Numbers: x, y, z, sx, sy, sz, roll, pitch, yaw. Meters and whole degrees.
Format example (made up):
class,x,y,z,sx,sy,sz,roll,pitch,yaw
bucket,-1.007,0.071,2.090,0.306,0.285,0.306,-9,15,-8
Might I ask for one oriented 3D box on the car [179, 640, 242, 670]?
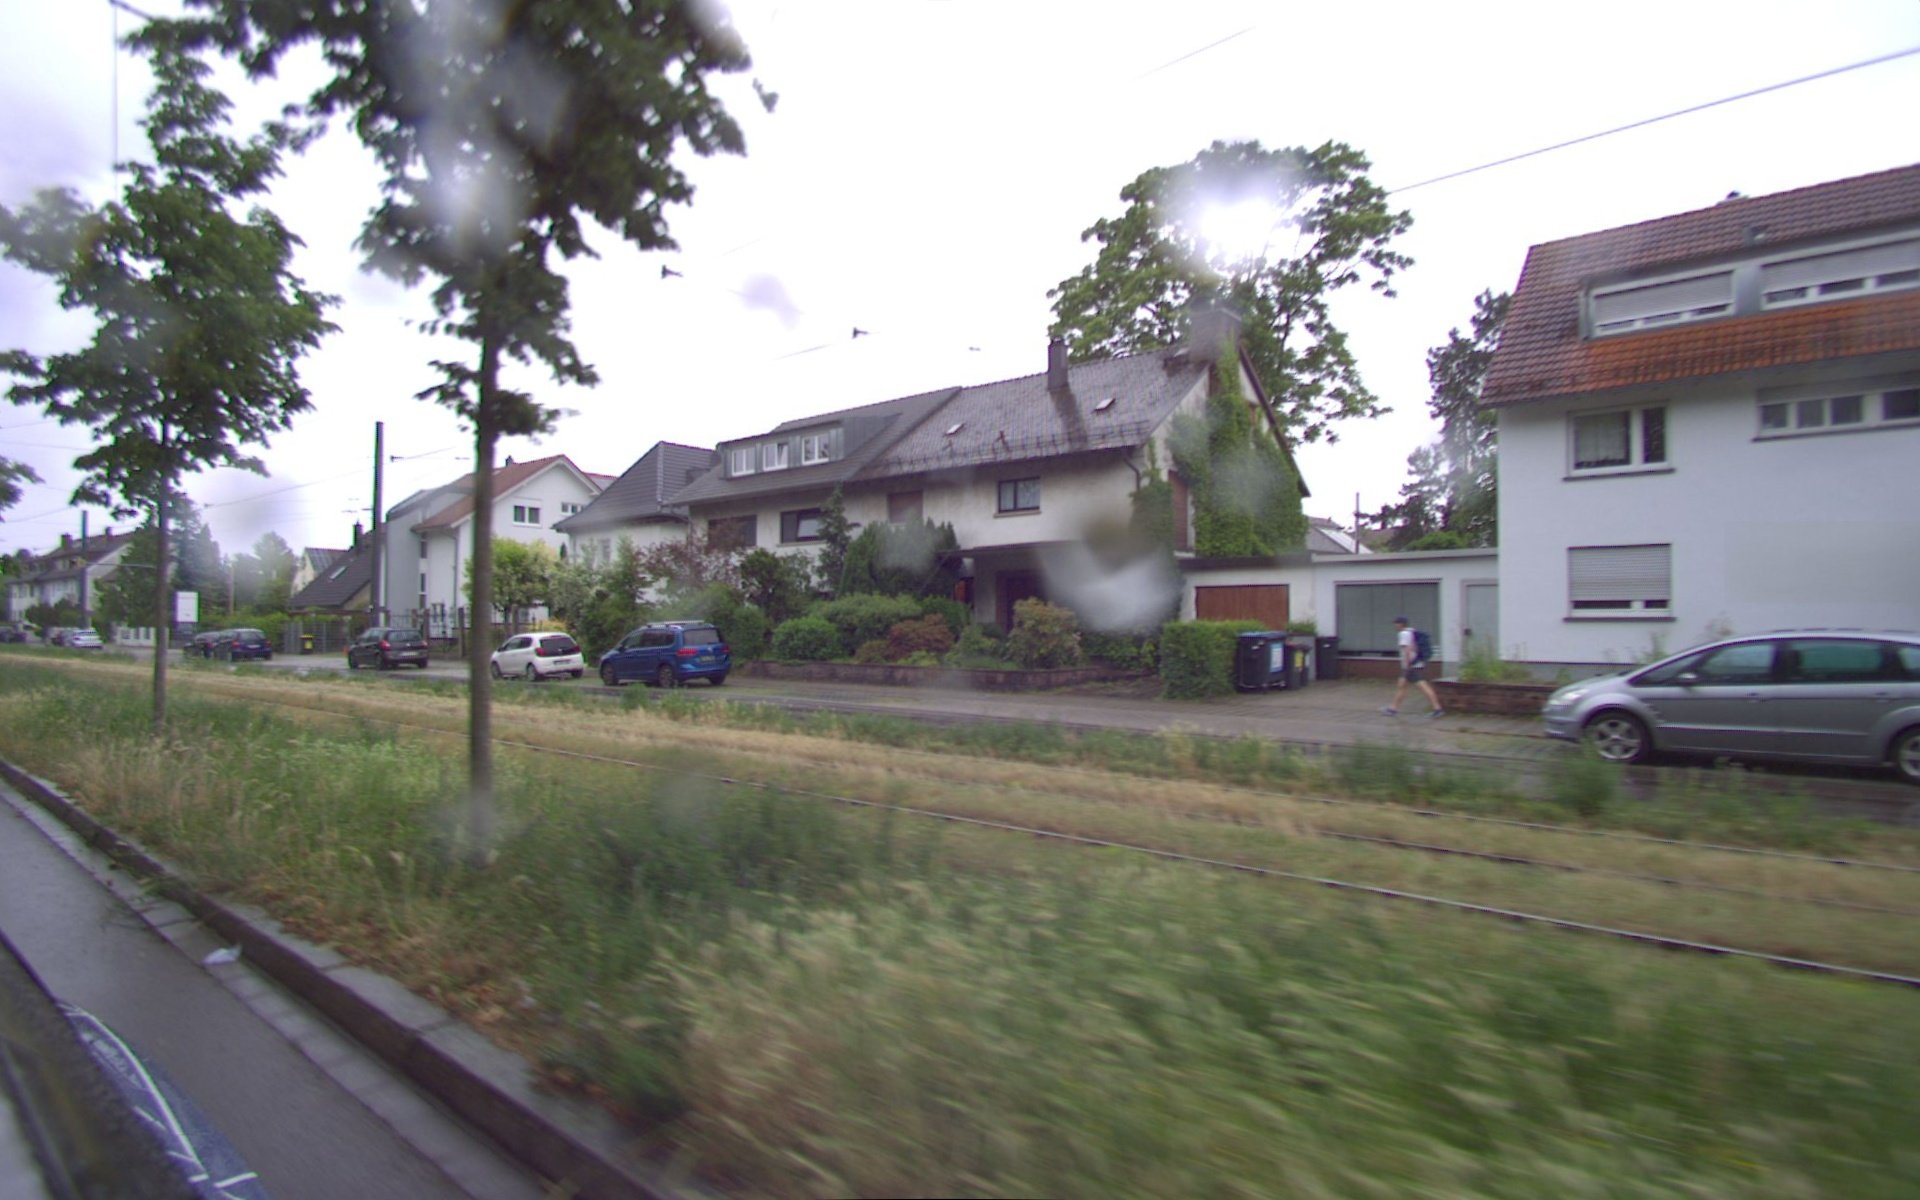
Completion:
class,x,y,z,sx,sy,sz,roll,pitch,yaw
car,-39.350,2.868,53.102,3.998,1.510,1.869,-2,-3,41

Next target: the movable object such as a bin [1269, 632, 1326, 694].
class,x,y,z,sx,sy,sz,roll,pitch,yaw
movable object such as a bin,7.513,1.388,22.503,0.739,1.308,1.241,-2,-1,42

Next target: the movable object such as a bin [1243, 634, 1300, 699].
class,x,y,z,sx,sy,sz,roll,pitch,yaw
movable object such as a bin,6.639,1.398,21.556,0.739,1.308,1.172,-2,-1,42

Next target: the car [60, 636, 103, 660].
class,x,y,z,sx,sy,sz,roll,pitch,yaw
car,-62.131,3.381,71.547,3.852,1.527,1.736,-2,0,41

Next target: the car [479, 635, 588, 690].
class,x,y,z,sx,sy,sz,roll,pitch,yaw
car,-13.538,1.924,32.061,3.598,1.540,1.696,-2,0,40

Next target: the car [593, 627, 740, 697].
class,x,y,z,sx,sy,sz,roll,pitch,yaw
car,-8.043,1.631,27.589,4.178,1.719,1.825,-2,-1,40

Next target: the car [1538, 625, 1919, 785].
class,x,y,z,sx,sy,sz,roll,pitch,yaw
car,9.736,1.132,12.003,4.682,1.626,1.972,-2,-1,42

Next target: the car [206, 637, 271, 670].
class,x,y,z,sx,sy,sz,roll,pitch,yaw
car,-35.916,2.625,50.354,3.852,1.527,1.736,-2,0,41

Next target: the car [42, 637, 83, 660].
class,x,y,z,sx,sy,sz,roll,pitch,yaw
car,-65.827,3.536,74.225,3.852,1.527,1.736,-2,0,41

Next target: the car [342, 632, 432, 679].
class,x,y,z,sx,sy,sz,roll,pitch,yaw
car,-22.310,2.112,39.329,4.108,1.626,1.736,-2,0,41

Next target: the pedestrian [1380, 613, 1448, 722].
class,x,y,z,sx,sy,sz,roll,pitch,yaw
pedestrian,7.650,1.113,17.054,0.869,1.781,0.592,-2,-2,41

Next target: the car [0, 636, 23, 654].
class,x,y,z,sx,sy,sz,roll,pitch,yaw
car,-83.393,3.914,88.451,3.852,1.527,1.736,-2,0,41
